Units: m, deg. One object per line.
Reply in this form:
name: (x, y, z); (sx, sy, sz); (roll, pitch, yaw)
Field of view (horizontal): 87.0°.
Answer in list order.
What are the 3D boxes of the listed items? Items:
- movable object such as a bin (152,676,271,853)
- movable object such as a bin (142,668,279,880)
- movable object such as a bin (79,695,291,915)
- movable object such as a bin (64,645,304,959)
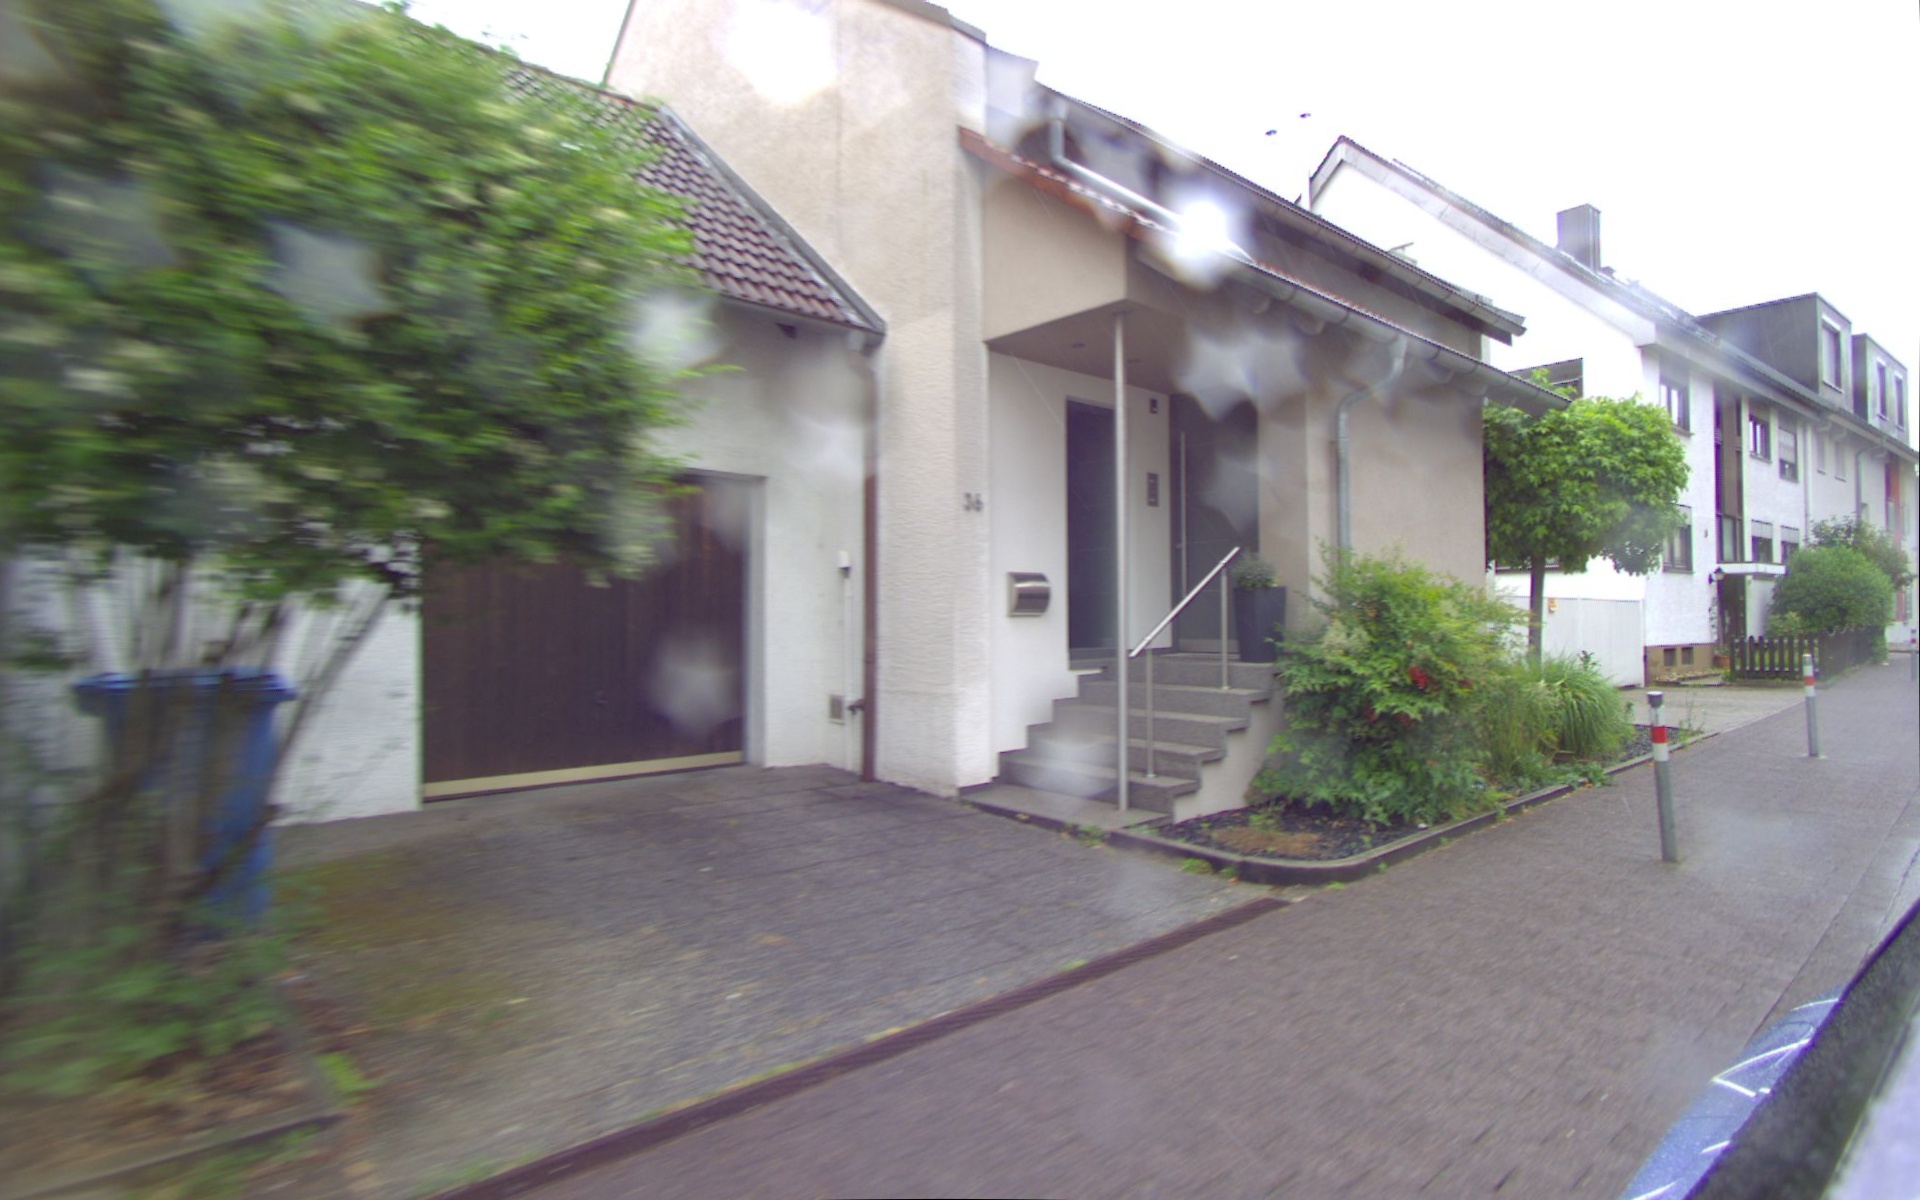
movable object such as a bin: (-4.027, 0.859, 5.454); (0.494, 0.836, 0.466); (0, 0, -37)
movable object such as a bin: (-3.713, 0.828, 5.027); (0.523, 0.933, 0.447); (0, 0, -37)
movable object such as a bin: (-3.484, 0.884, 4.584); (0.726, 0.822, 0.451); (0, 2, -37)
movable object such as a bin: (-3.112, 0.751, 4.098); (0.726, 1.095, 0.510); (0, 0, -37)
